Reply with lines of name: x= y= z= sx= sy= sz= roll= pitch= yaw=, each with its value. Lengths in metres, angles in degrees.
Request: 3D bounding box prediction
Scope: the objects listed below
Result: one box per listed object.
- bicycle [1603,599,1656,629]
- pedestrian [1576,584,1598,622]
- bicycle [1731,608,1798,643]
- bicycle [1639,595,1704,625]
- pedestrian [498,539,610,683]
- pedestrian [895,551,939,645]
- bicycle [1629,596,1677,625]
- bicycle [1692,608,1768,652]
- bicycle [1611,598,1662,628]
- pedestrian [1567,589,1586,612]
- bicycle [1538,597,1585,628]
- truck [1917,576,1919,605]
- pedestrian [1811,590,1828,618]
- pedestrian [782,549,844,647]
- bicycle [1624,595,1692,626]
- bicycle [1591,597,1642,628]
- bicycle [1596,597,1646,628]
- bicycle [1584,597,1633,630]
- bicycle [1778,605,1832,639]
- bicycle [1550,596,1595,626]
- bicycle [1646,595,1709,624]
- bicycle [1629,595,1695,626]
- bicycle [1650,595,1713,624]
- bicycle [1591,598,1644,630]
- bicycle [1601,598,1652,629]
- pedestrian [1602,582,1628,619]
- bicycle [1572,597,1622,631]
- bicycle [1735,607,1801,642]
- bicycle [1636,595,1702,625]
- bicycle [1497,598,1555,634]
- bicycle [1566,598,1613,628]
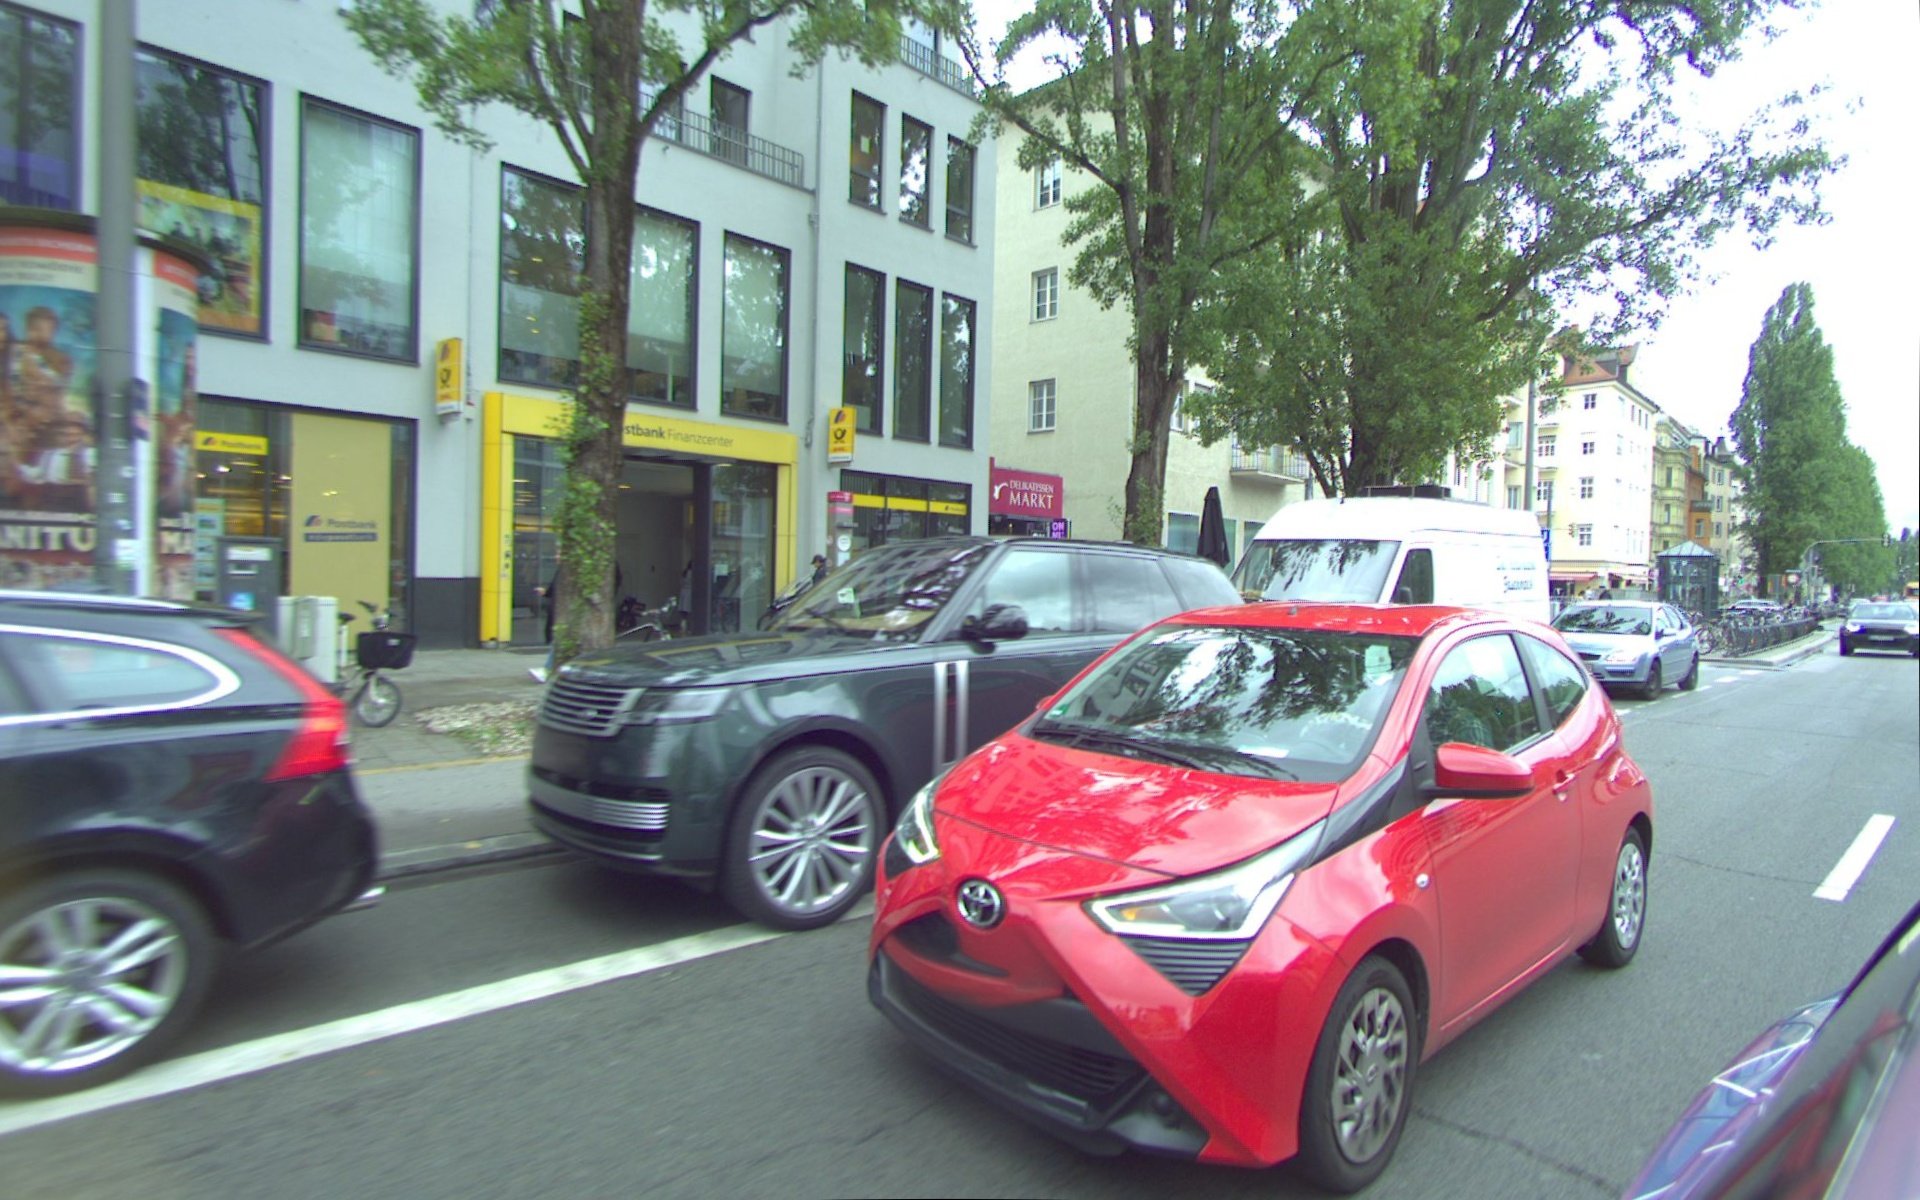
bicycle: x=26.171 y=0.537 z=39.593 sx=0.403 sy=1.091 sz=1.638 roll=0 pitch=3 yaw=-40
pedestrian: x=27.100 y=0.139 z=43.738 sx=0.654 sy=1.602 sz=0.533 roll=2 pitch=1 yaw=21
bicycle: x=24.093 y=0.761 z=30.354 sx=0.378 sy=1.024 sz=1.803 roll=1 pitch=-2 yaw=-7
bicycle: x=32.828 y=0.432 z=46.695 sx=0.617 sy=1.242 sz=2.341 roll=1 pitch=2 yaw=-42
pedestrian: x=-4.930 y=0.117 z=12.302 sx=1.006 sy=1.657 sz=0.800 roll=1 pitch=2 yaw=-44
pedestrian: x=-0.831 y=-0.055 z=19.353 sx=0.725 sy=1.745 sz=0.723 roll=2 pitch=2 yaw=-7
bicycle: x=28.374 y=0.432 z=41.442 sx=1.726 sy=1.091 sz=0.411 roll=2 pitch=2 yaw=-5
bicycle: x=19.276 y=0.753 z=25.376 sx=0.535 sy=1.068 sz=1.577 roll=1 pitch=-2 yaw=-7
bicycle: x=27.102 y=0.522 z=40.568 sx=1.602 sy=1.091 sz=0.404 roll=5 pitch=3 yaw=44
pedestrian: x=36.155 y=0.014 z=59.351 sx=0.699 sy=1.260 sz=0.905 roll=3 pitch=3 yaw=44
bicycle: x=22.616 y=0.462 z=38.039 sx=1.445 sy=1.091 sz=0.405 roll=4 pitch=3 yaw=37
truck: x=119.167 y=-1.101 z=123.996 sx=2.536 sy=3.531 sz=7.626 roll=4 pitch=3 yaw=45
pedestrian: x=57.834 y=0.236 z=68.123 sx=0.728 sy=1.823 sz=0.702 roll=3 pitch=3 yaw=36
pedestrian: x=-2.579 y=-0.045 z=17.784 sx=0.691 sy=1.669 sz=0.785 roll=3 pitch=2 yaw=45
bicycle: x=31.119 y=0.454 z=45.165 sx=0.617 sy=1.242 sz=2.366 roll=1 pitch=2 yaw=-42
bicycle: x=24.945 y=0.466 z=38.456 sx=1.536 sy=1.091 sz=0.404 roll=5 pitch=3 yaw=44
bicycle: x=25.362 y=0.460 z=38.858 sx=1.525 sy=1.091 sz=0.404 roll=5 pitch=3 yaw=44
bicycle: x=23.784 y=0.486 z=37.155 sx=1.445 sy=1.091 sz=0.405 roll=4 pitch=3 yaw=37
bicycle: x=31.336 y=0.802 z=37.559 sx=0.480 sy=1.151 sz=1.796 roll=1 pitch=1 yaw=-1
bicycle: x=24.137 y=0.433 z=39.895 sx=1.445 sy=1.091 sz=0.405 roll=4 pitch=3 yaw=37
bicycle: x=33.630 y=0.421 z=47.464 sx=0.617 sy=1.242 sz=2.328 roll=1 pitch=2 yaw=-42
bicycle: x=31.621 y=0.448 z=45.607 sx=0.617 sy=1.242 sz=2.341 roll=1 pitch=2 yaw=-42
bicycle: x=34.166 y=0.450 z=47.979 sx=0.617 sy=1.242 sz=2.316 roll=1 pitch=2 yaw=-42
bicycle: x=25.622 y=0.537 z=39.444 sx=1.658 sy=1.091 sz=0.404 roll=5 pitch=3 yaw=44
bicycle: x=26.511 y=0.525 z=40.281 sx=1.622 sy=1.091 sz=0.404 roll=5 pitch=3 yaw=44
pedestrian: x=31.001 y=0.016 z=47.908 sx=0.727 sy=1.729 sz=0.704 roll=2 pitch=1 yaw=4
bicycle: x=22.893 y=0.497 z=36.381 sx=1.443 sy=1.091 sz=0.405 roll=4 pitch=3 yaw=33
bicycle: x=24.529 y=0.747 z=30.752 sx=0.378 sy=1.024 sz=1.803 roll=1 pitch=-2 yaw=-7
bicycle: x=32.214 y=0.443 z=46.007 sx=0.617 sy=1.242 sz=2.316 roll=1 pitch=2 yaw=-42
bicycle: x=19.080 y=0.523 z=34.144 sx=0.403 sy=1.116 sz=1.633 roll=1 pitch=3 yaw=-39
bicycle: x=25.435 y=0.507 z=40.894 sx=1.526 sy=1.091 sz=0.404 roll=5 pitch=3 yaw=44
